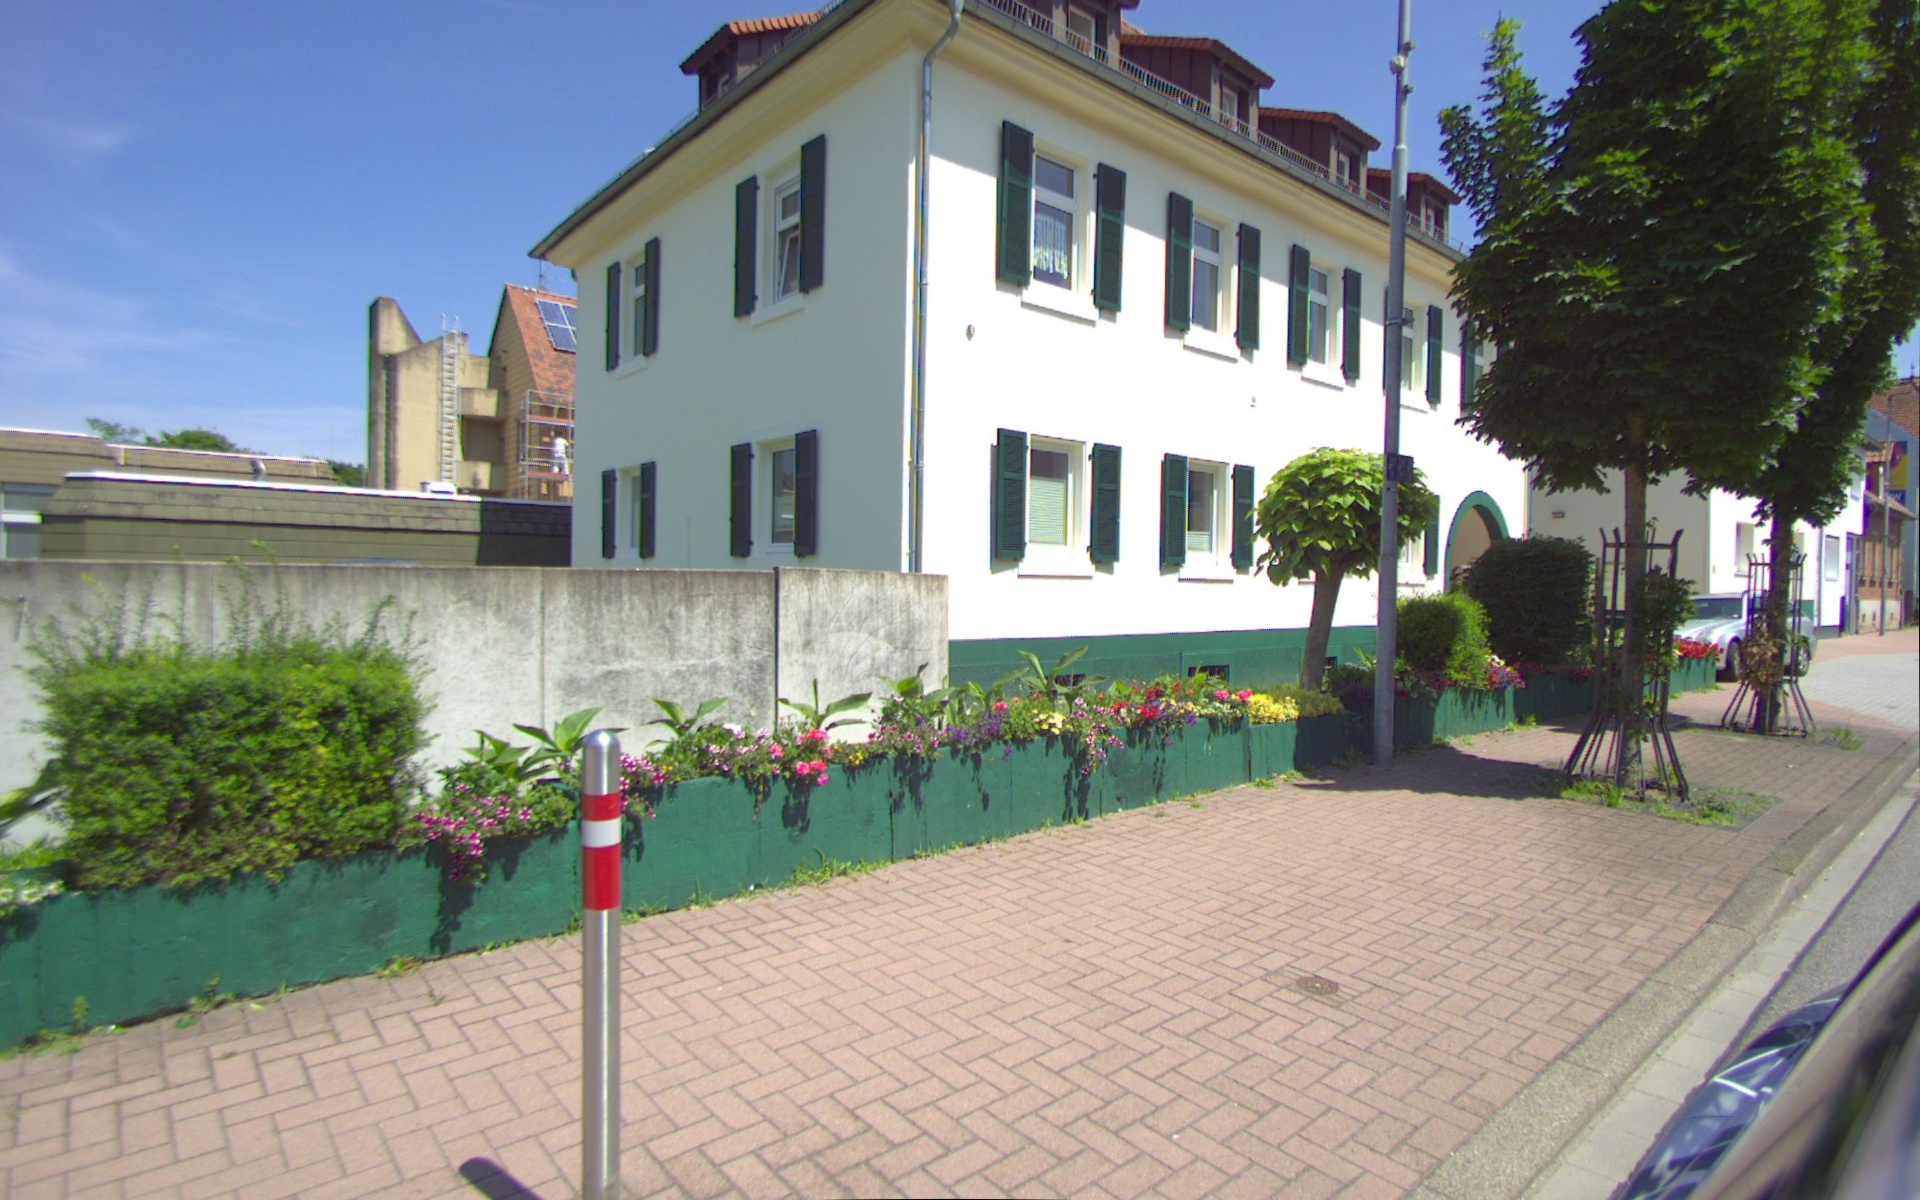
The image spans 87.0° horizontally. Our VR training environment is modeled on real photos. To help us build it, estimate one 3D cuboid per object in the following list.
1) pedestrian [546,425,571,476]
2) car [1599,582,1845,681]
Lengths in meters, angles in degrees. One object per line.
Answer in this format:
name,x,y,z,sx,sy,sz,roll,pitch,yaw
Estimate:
pedestrian,-15.048,-5.580,37.907,0.653,1.725,0.829,1,-2,-38
car,13.273,0.506,17.546,4.790,1.482,1.821,-1,-3,-33
